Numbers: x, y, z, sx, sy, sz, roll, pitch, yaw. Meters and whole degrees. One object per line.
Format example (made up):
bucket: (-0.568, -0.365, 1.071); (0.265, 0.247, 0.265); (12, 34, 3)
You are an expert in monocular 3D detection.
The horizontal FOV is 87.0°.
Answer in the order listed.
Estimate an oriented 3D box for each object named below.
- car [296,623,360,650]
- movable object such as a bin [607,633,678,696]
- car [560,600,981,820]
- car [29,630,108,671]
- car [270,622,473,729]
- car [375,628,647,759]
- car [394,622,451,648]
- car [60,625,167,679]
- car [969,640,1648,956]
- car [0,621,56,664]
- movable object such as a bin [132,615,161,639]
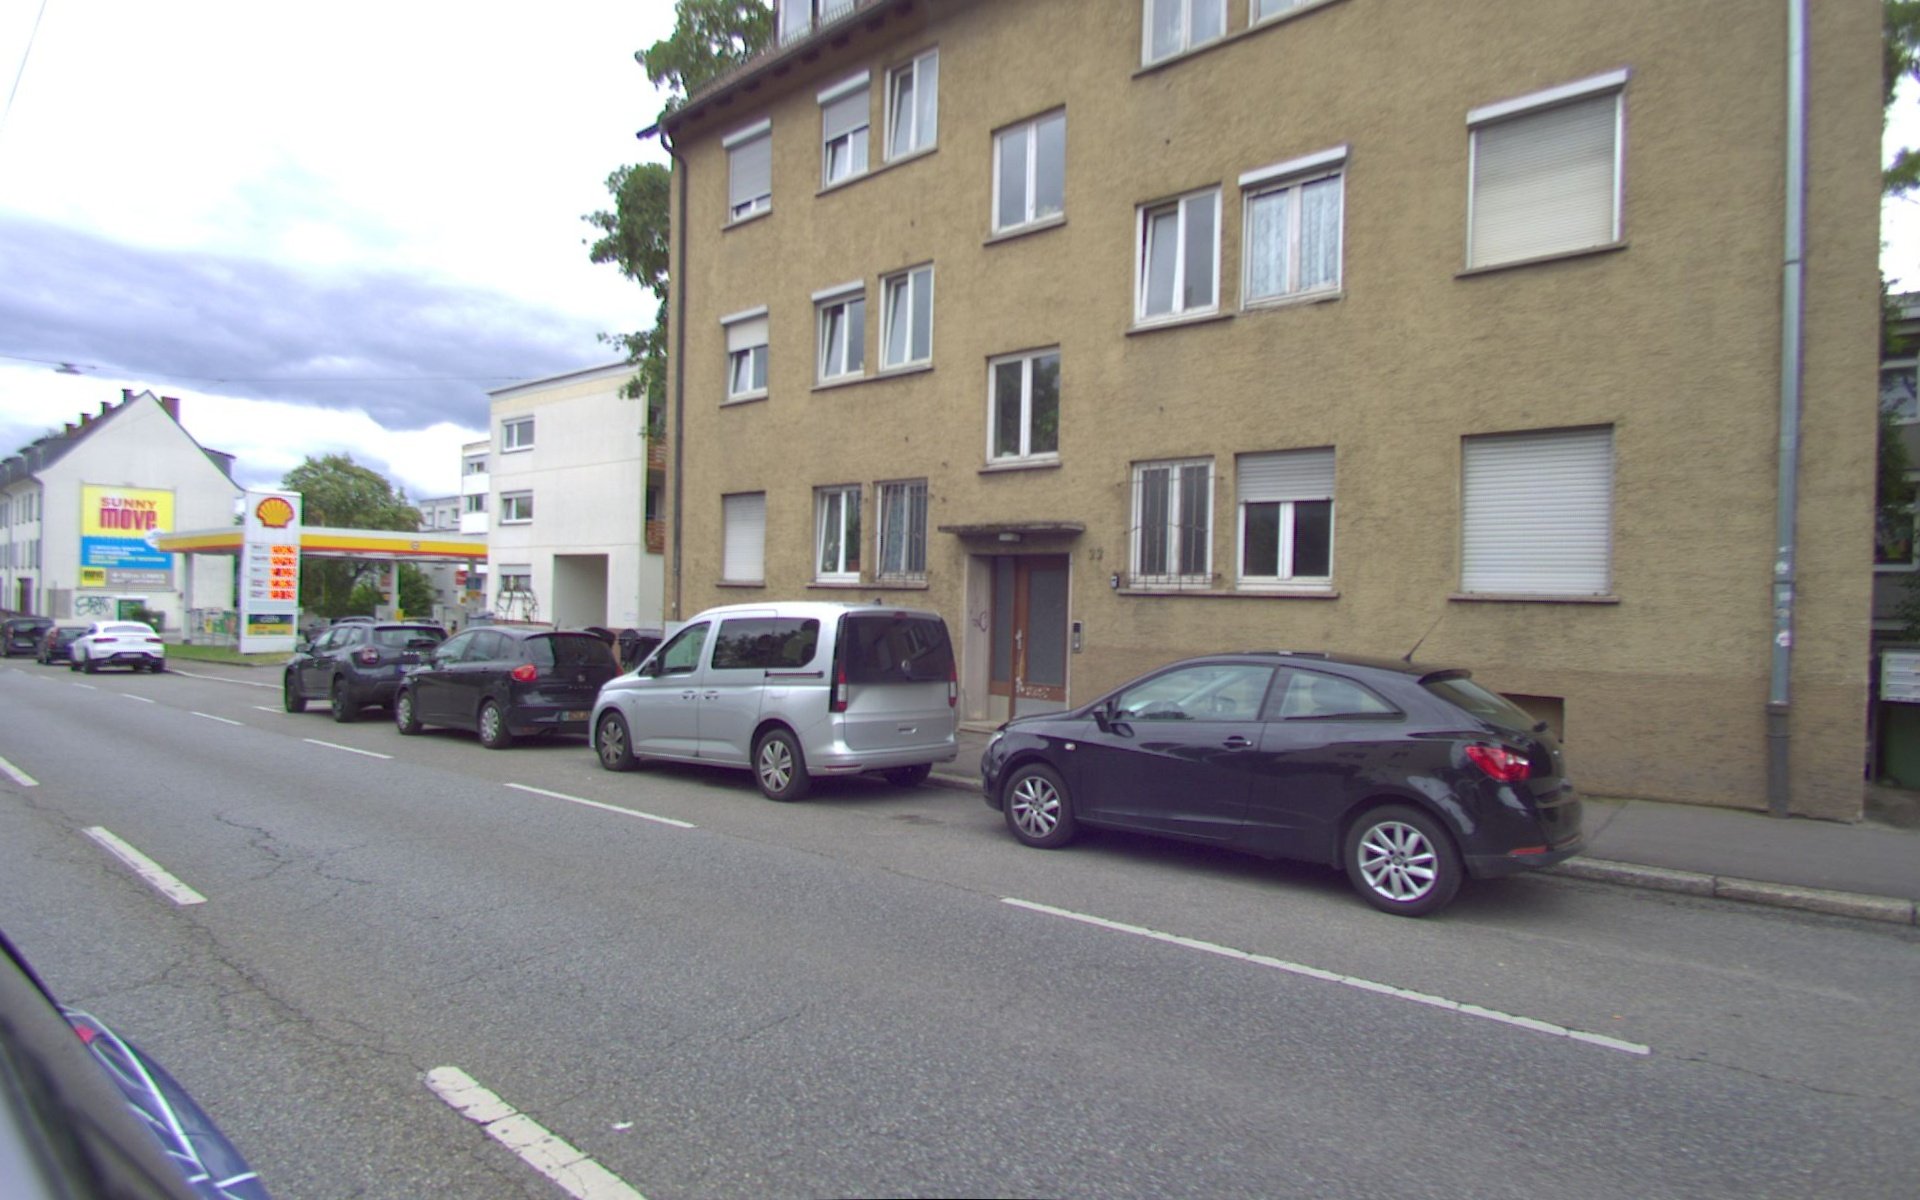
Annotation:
car: (-34.820, 1.986, 55.742); (4.414, 1.431, 1.779); (-2, -1, 41)
movable object such as a bin: (-7.730, 1.544, 24.669); (0.912, 1.439, 1.379); (-2, -1, 38)
car: (-2.097, 0.961, 10.333); (4.555, 1.767, 1.758); (-1, -3, 41)
car: (-33.621, 1.874, 38.126); (4.743, 1.442, 1.778); (-2, -3, 43)
car: (-10.238, 1.244, 17.490); (4.263, 1.621, 1.764); (-2, -4, 42)
car: (-6.264, 1.176, 13.945); (4.095, 1.542, 1.734); (-1, -3, 39)
car: (-31.230, 1.999, 58.785); (3.634, 1.431, 1.779); (-2, -1, 41)
car: (-26.770, 1.598, 31.967); (4.698, 1.589, 1.895); (-2, -3, 42)
car: (2.104, 1.020, 6.727); (3.911, 1.450, 1.727); (-1, -3, 41)
car: (-42.358, 1.901, 45.478); (4.697, 1.849, 1.833); (-2, -3, 39)
movable object such as a bin: (-53.998, 1.816, 67.178); (1.104, 1.550, 1.252); (-2, -4, 41)
